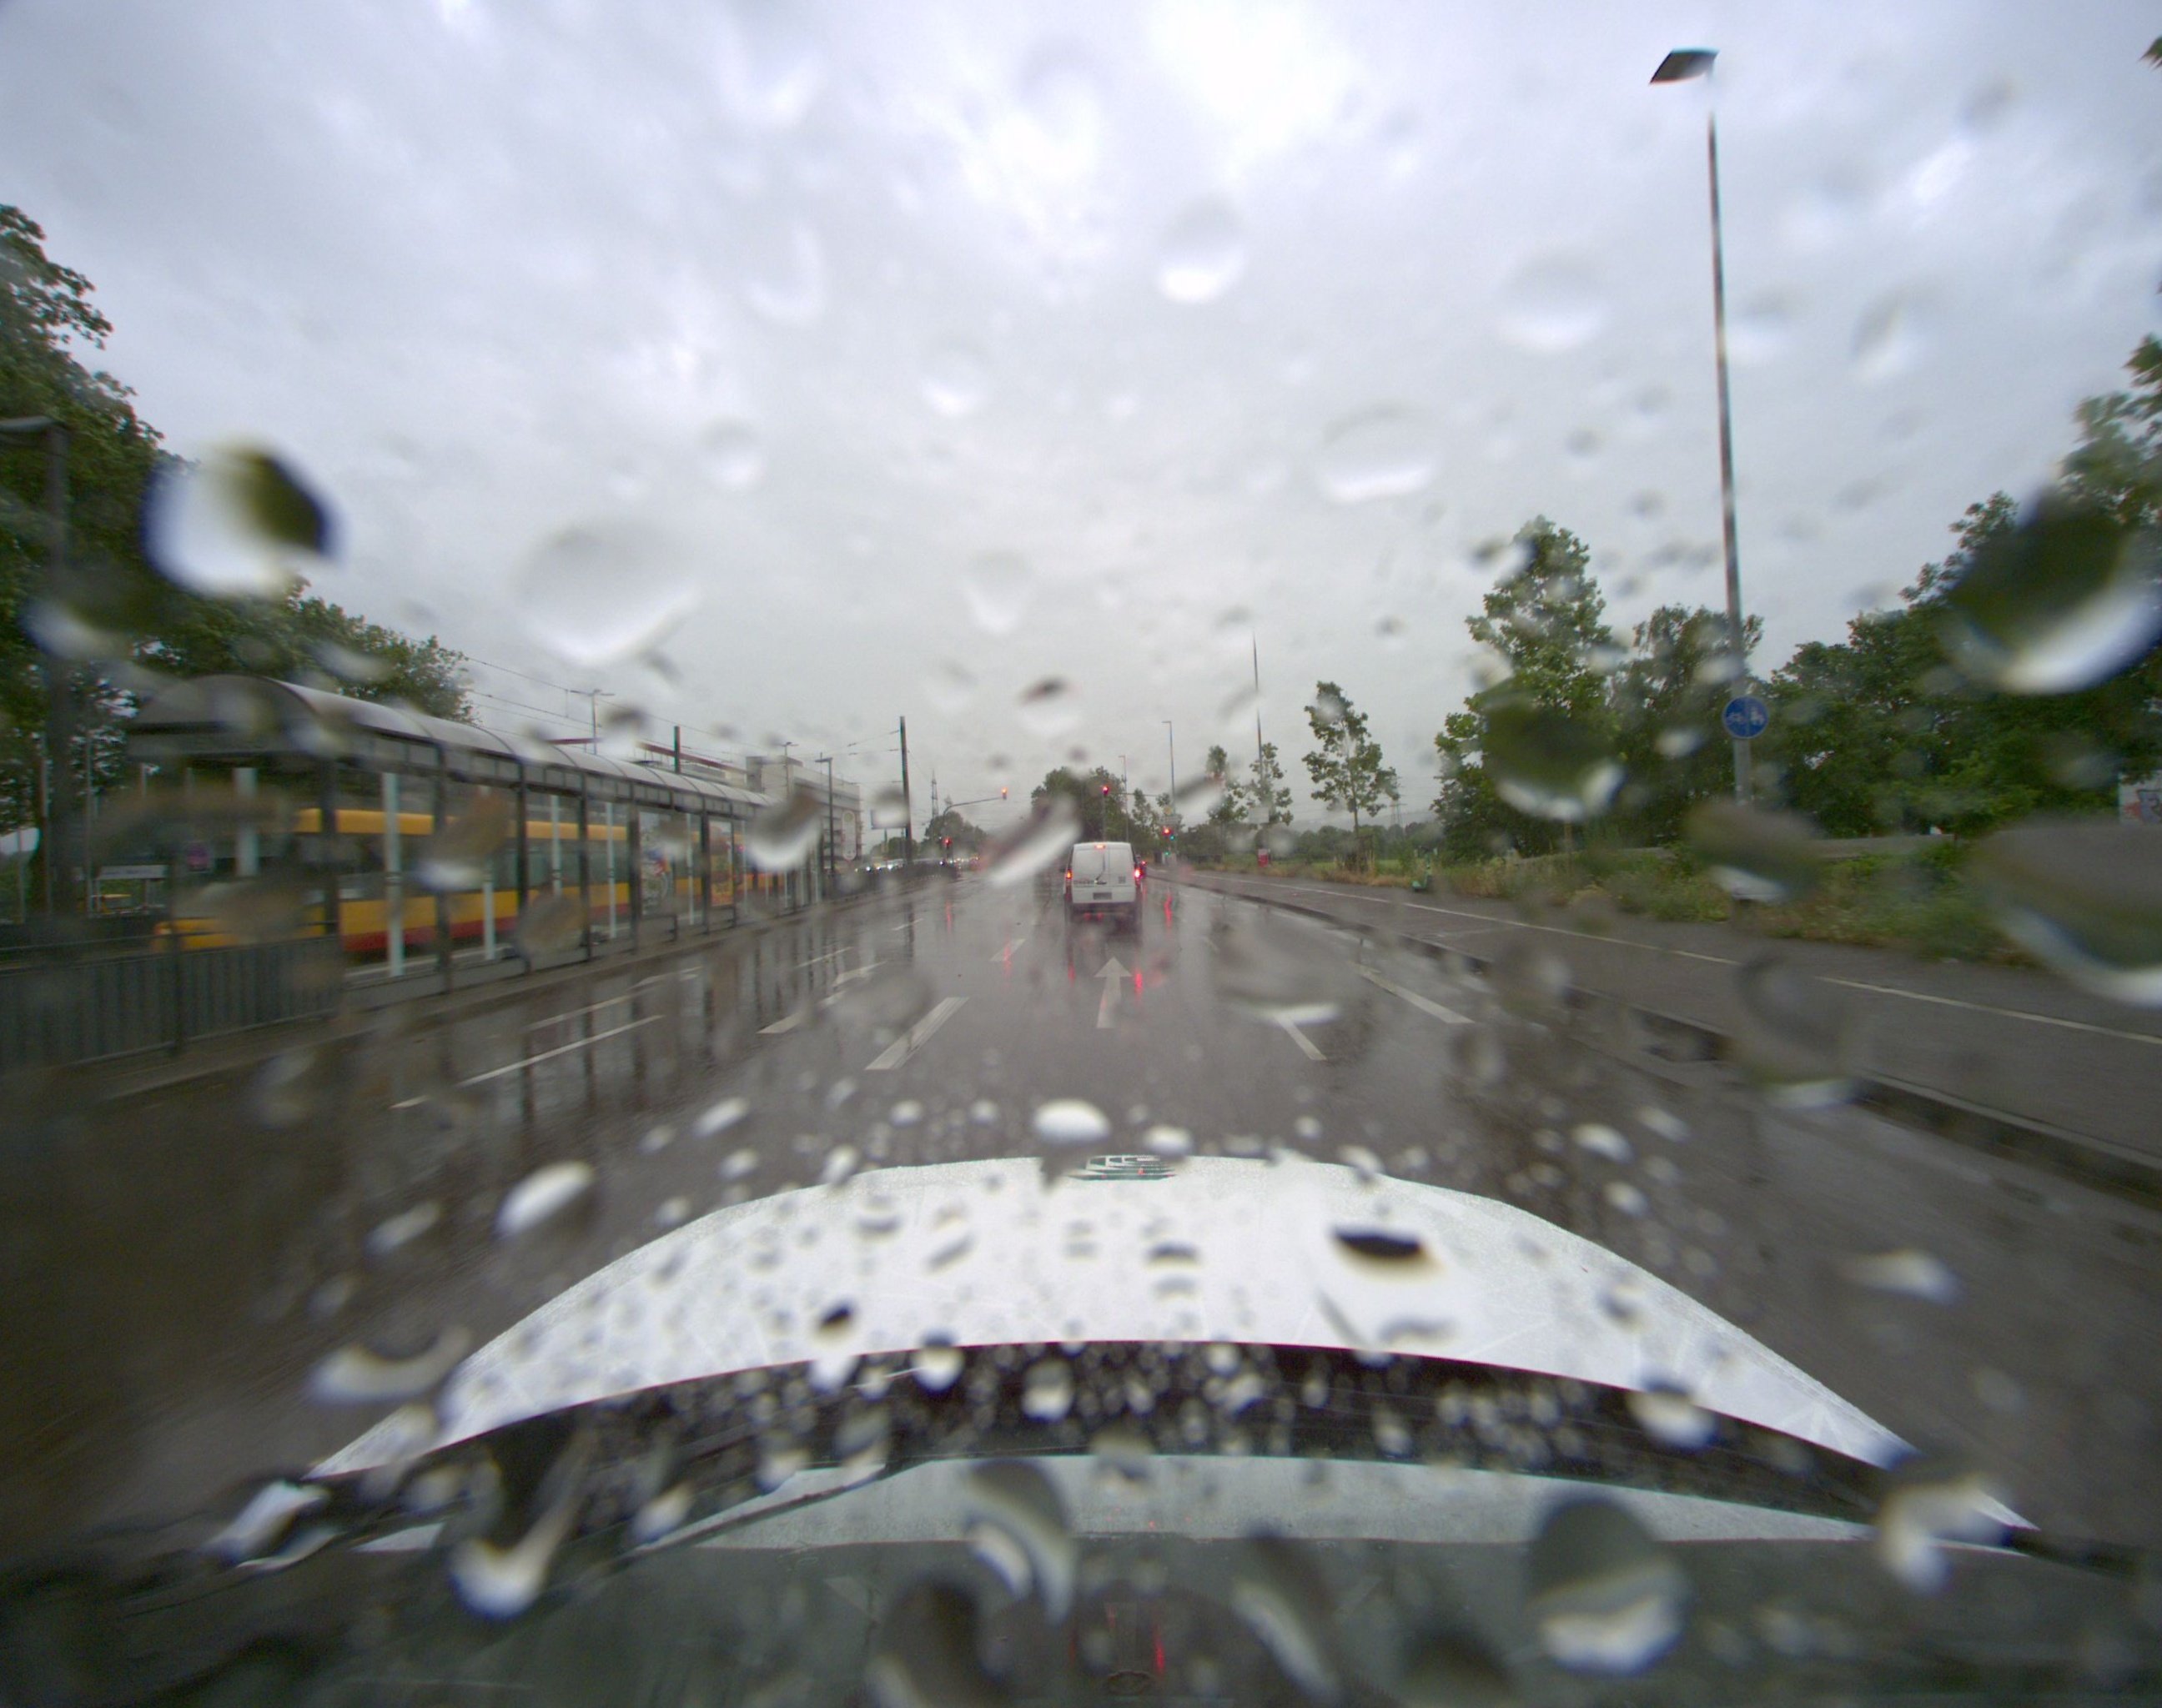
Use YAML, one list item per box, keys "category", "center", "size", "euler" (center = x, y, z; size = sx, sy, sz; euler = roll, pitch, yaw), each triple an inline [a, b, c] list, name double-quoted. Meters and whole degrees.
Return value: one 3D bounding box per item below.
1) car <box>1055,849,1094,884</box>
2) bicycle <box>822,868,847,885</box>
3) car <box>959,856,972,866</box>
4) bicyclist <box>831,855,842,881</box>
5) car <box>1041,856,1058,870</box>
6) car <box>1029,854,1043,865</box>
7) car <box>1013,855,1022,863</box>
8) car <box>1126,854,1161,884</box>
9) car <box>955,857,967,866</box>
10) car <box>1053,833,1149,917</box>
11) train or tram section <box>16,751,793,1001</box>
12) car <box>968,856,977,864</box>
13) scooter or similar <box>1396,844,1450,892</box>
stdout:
- category: "car"
  center: [-0.313, 0.636, 43.787]
  size: [1.987, 1.750, 3.999]
  euler: [-1, 0, 0]
- category: "bicycle"
  center: [-18.833, 1.742, 62.265]
  size: [1.653, 1.189, 0.594]
  euler: [-2, -2, -7]
- category: "car"
  center: [-24.634, 1.482, 174.002]
  size: [1.986, 2.013, 4.002]
  euler: [-1, 0, 2]
- category: "bicyclist"
  center: [-18.675, 1.083, 62.302]
  size: [0.694, 2.013, 0.550]
  euler: [-1, 0, -7]
- category: "car"
  center: [-4.177, 1.208, 107.212]
  size: [1.991, 1.750, 3.991]
  euler: [-1, 0, -6]
- category: "car"
  center: [-7.453, 0.832, 134.503]
  size: [1.991, 1.750, 3.991]
  euler: [-1, 0, -6]
- category: "car"
  center: [-14.469, 1.094, 185.448]
  size: [1.991, 1.750, 3.991]
  euler: [-1, 0, -6]
- category: "car"
  center: [3.836, 0.906, 50.329]
  size: [1.986, 1.750, 4.002]
  euler: [-1, 0, 2]
- category: "car"
  center: [-26.815, 1.636, 181.525]
  size: [1.986, 2.013, 4.001]
  euler: [-1, 0, 1]
- category: "car"
  center: [0.366, 0.446, 19.617]
  size: [2.020, 1.775, 4.270]
  euler: [-1, 0, -2]
- category: "train or tram section"
  center: [-15.801, 0.367, 26.840]
  size: [3.760, 4.036, 27.073]
  euler: [-1, 0, -2]
- category: "car"
  center: [-29.253, 1.614, 220.003]
  size: [1.988, 2.013, 3.997]
  euler: [-1, 0, -2]
- category: "scooter or similar"
  center: [8.943, 0.356, 21.347]
  size: [0.641, 1.195, 1.561]
  euler: [-3, 0, -2]
